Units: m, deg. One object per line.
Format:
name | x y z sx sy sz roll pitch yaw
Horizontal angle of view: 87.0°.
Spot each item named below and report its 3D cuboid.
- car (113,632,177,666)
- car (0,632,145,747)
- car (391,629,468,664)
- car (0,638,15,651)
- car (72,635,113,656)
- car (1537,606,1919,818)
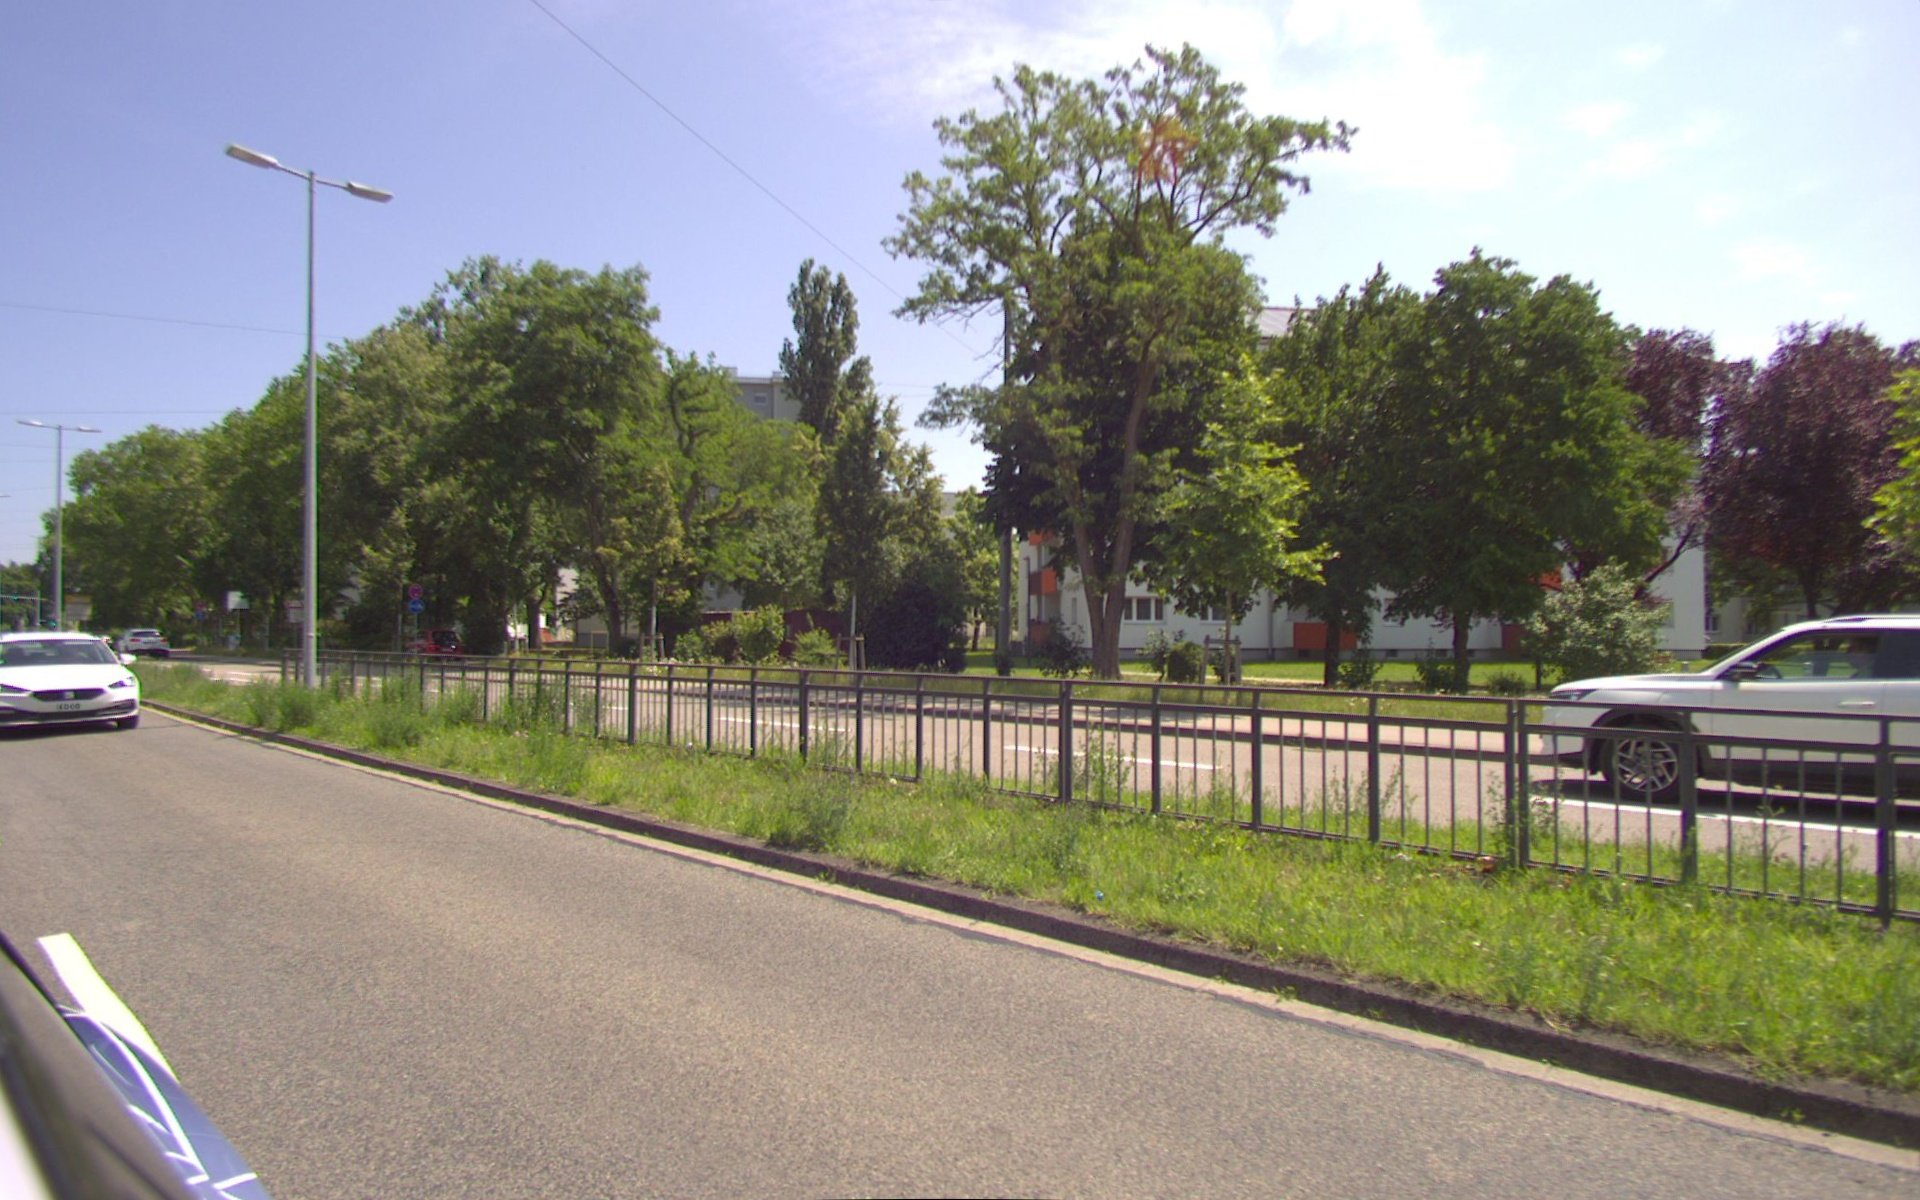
car | -44.837 2.705 55.665 4.477 1.772 1.840 -2 -4 40
car | -13.868 1.255 15.300 4.110 1.479 1.749 -2 -1 41
car | -25.462 2.217 48.547 3.999 1.597 1.972 -2 -3 42
car | -113.752 5.226 120.351 4.635 1.520 1.721 -2 -3 43
car | -66.274 3.456 77.334 4.081 1.566 1.749 -2 -3 41
car | 7.515 0.898 8.538 4.343 1.584 1.802 -2 -4 40
